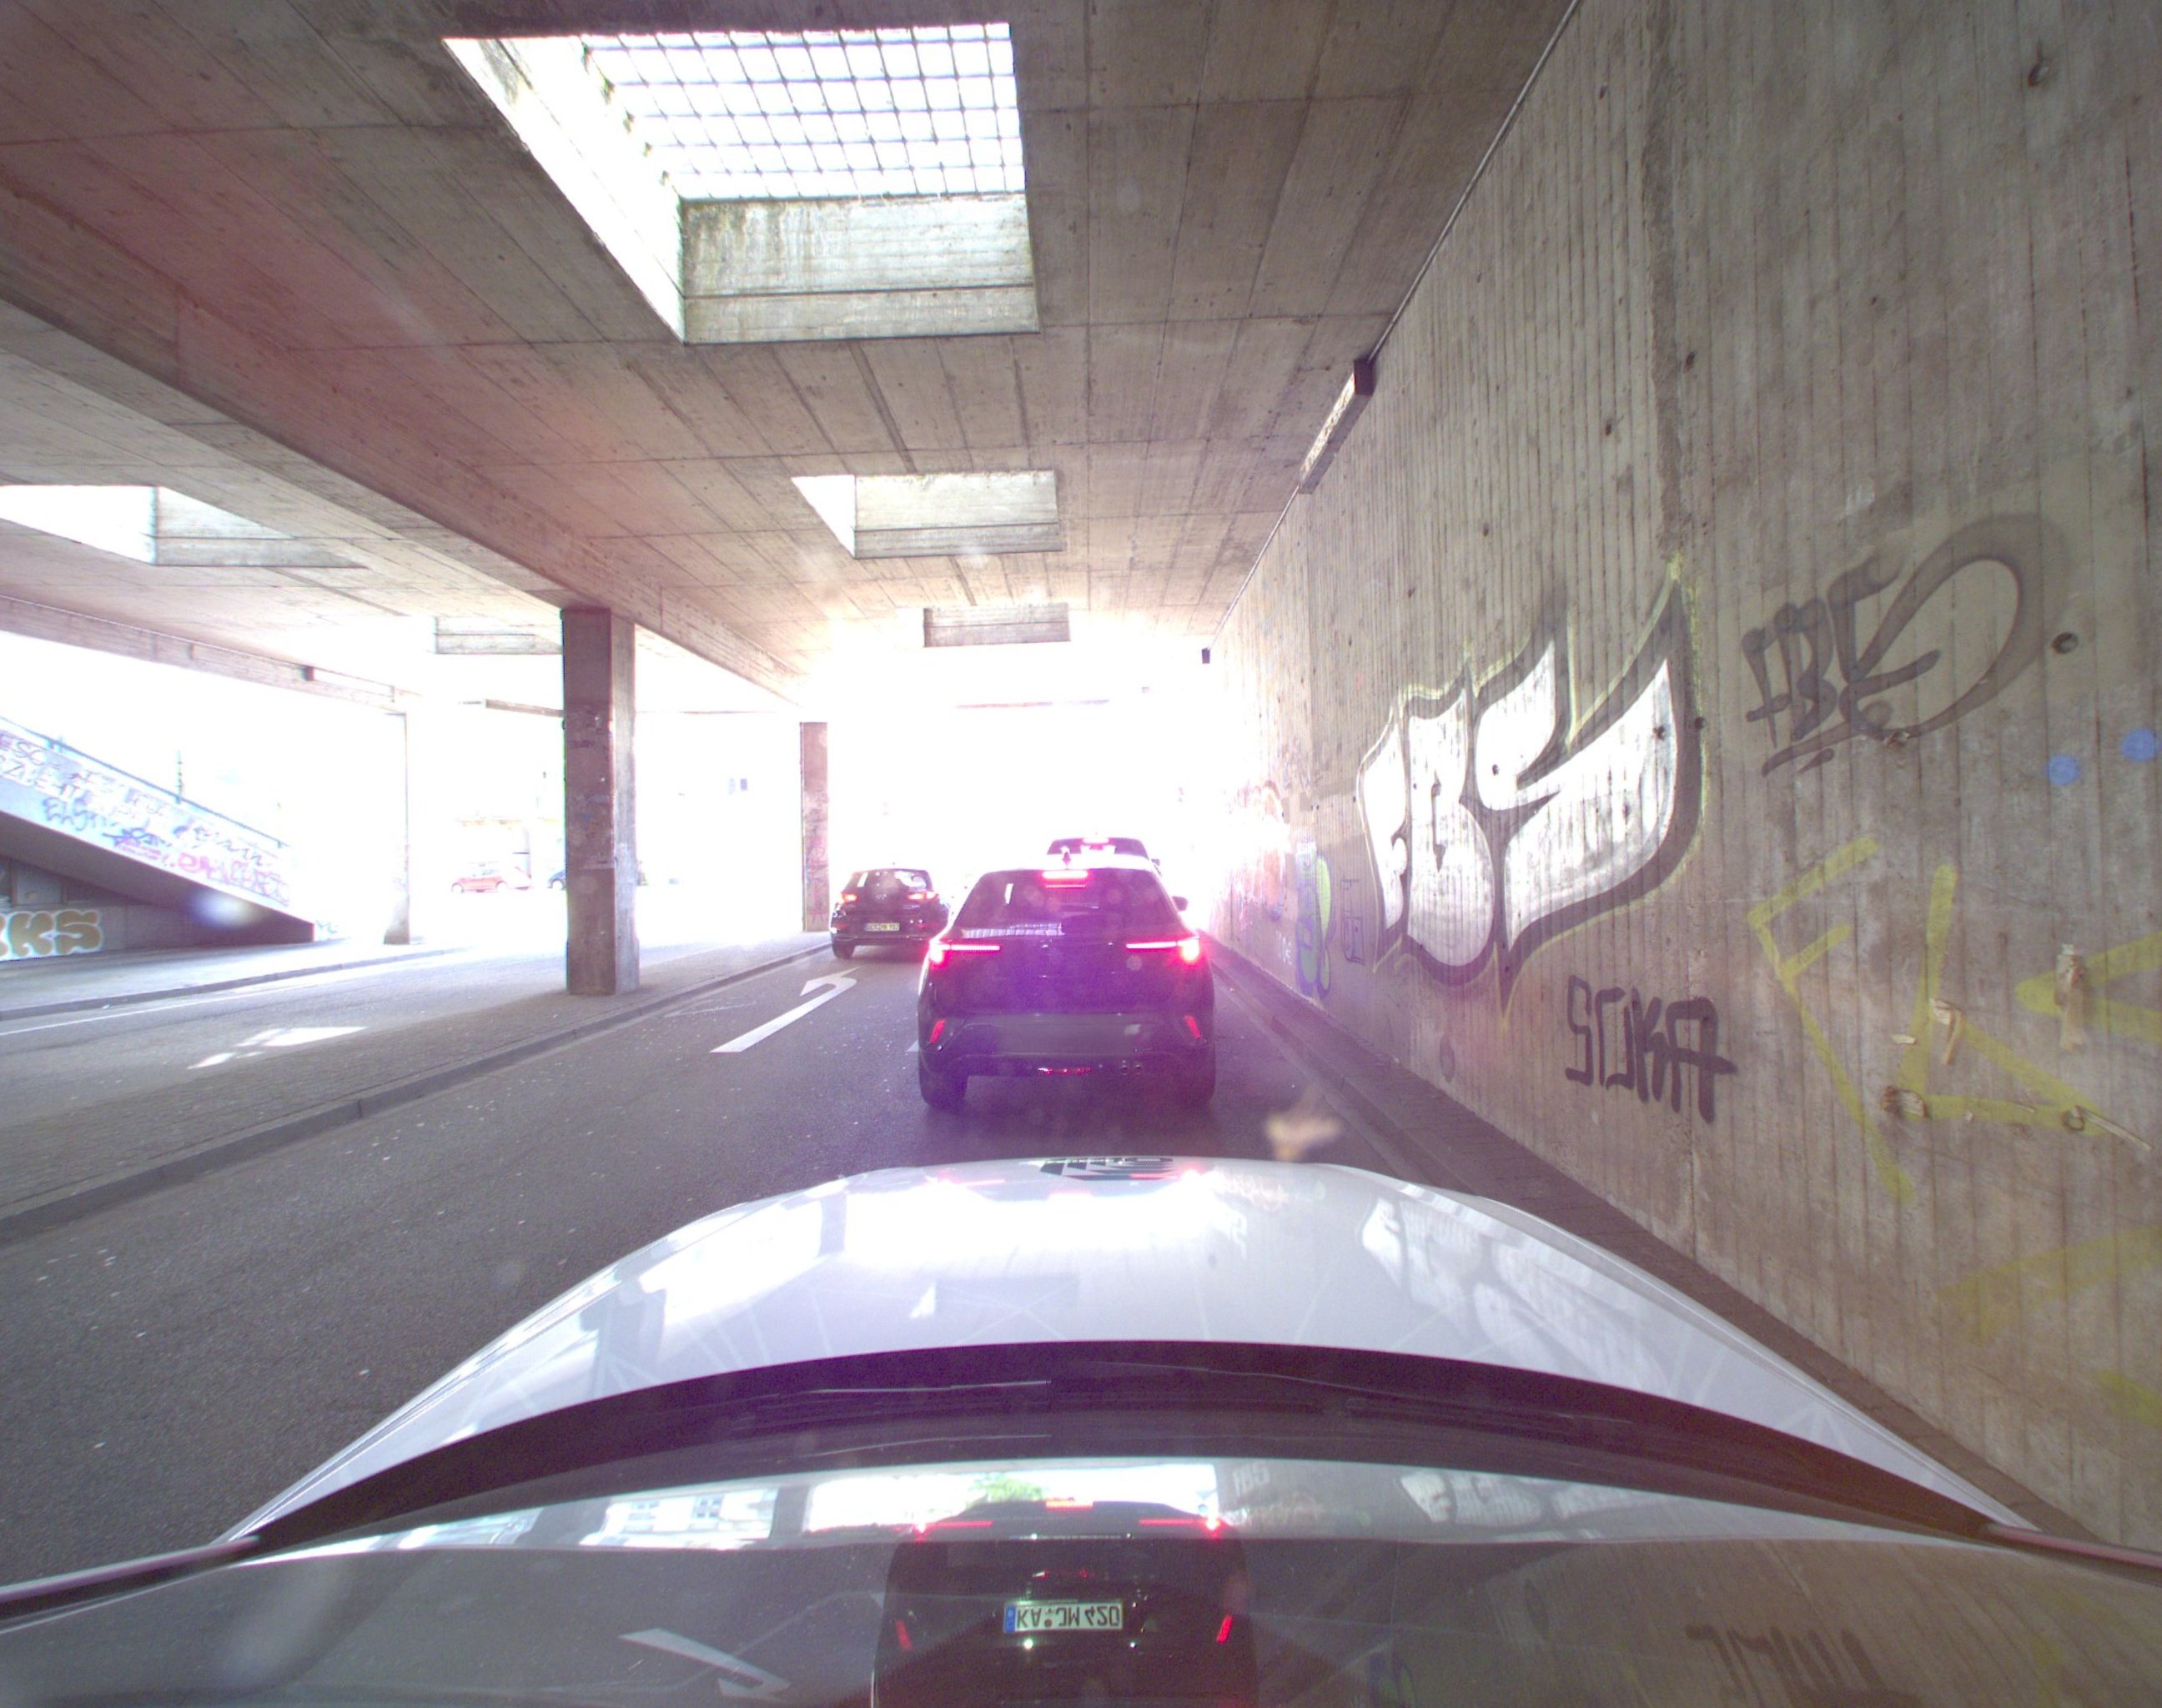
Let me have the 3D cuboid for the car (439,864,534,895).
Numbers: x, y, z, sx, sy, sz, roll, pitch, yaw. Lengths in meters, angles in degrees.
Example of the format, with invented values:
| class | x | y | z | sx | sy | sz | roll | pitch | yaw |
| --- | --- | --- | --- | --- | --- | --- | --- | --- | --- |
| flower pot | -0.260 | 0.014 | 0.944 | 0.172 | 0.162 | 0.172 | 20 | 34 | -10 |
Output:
| class | x | y | z | sx | sy | sz | roll | pitch | yaw |
| --- | --- | --- | --- | --- | --- | --- | --- | --- | --- |
| car | -32.996 | 1.392 | 45.267 | 3.863 | 1.540 | 1.900 | -1 | 1 | 2 |

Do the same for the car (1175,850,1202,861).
| class | x | y | z | sx | sy | sz | roll | pitch | yaw |
| --- | --- | --- | --- | --- | --- | --- | --- | --- | --- |
| car | 21.116 | 0.286 | 160.647 | 4.888 | 2.083 | 1.977 | -2 | -1 | -12 |

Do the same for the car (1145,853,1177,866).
| class | x | y | z | sx | sy | sz | roll | pitch | yaw |
| --- | --- | --- | --- | --- | --- | --- | --- | --- | --- |
| car | 13.182 | 0.896 | 134.041 | 4.905 | 2.083 | 1.970 | -2 | -1 | -23 |

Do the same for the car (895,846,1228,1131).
| class | x | y | z | sx | sy | sz | roll | pitch | yaw |
| --- | --- | --- | --- | --- | --- | --- | --- | --- | --- |
| car | -0.047 | 0.727 | 6.273 | 1.775 | 1.517 | 3.757 | -1 | 0 | 2 |

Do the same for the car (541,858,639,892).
| class | x | y | z | sx | sy | sz | roll | pitch | yaw |
| --- | --- | --- | --- | --- | --- | --- | --- | --- | --- |
| car | -27.235 | 1.159 | 45.269 | 4.144 | 1.724 | 1.964 | -1 | 1 | 2 |

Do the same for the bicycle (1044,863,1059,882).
| class | x | y | z | sx | sy | sz | roll | pitch | yaw |
| --- | --- | --- | --- | --- | --- | --- | --- | --- | --- |
| bicycle | -1.856 | 1.152 | 51.295 | 0.695 | 1.090 | 1.863 | -1 | 2 | 5 |

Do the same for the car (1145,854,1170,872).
| class | x | y | z | sx | sy | sz | roll | pitch | yaw |
| --- | --- | --- | --- | --- | --- | --- | --- | --- | --- |
| car | 7.070 | 0.812 | 75.069 | 1.693 | 1.512 | 3.877 | -3 | -1 | 13 |

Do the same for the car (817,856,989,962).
| class | x | y | z | sx | sy | sz | roll | pitch | yaw |
| --- | --- | --- | --- | --- | --- | --- | --- | --- | --- |
| car | -2.779 | 0.791 | 13.755 | 1.794 | 1.451 | 4.328 | -2 | 0 | 2 |

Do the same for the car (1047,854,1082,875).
| class | x | y | z | sx | sy | sz | roll | pitch | yaw |
| --- | --- | --- | --- | --- | --- | --- | --- | --- | --- |
| car | -1.179 | 0.721 | 59.772 | 1.645 | 1.441 | 3.478 | -2 | 0 | 16 |

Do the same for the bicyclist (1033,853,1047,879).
| class | x | y | z | sx | sy | sz | roll | pitch | yaw |
| --- | --- | --- | --- | --- | --- | --- | --- | --- | --- |
| bicyclist | -2.688 | 0.794 | 53.953 | 0.779 | 1.660 | 1.032 | -2 | 0 | 3 |

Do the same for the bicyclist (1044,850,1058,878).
| class | x | y | z | sx | sy | sz | roll | pitch | yaw |
| --- | --- | --- | --- | --- | --- | --- | --- | --- | --- |
| bicyclist | -1.882 | 0.630 | 51.240 | 0.742 | 1.711 | 0.968 | -2 | 1 | 4 |

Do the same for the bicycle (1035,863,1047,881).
| class | x | y | z | sx | sy | sz | roll | pitch | yaw |
| --- | --- | --- | --- | --- | --- | --- | --- | --- | --- |
| bicycle | -2.660 | 1.171 | 53.874 | 0.539 | 1.123 | 2.060 | -1 | 0 | 3 |

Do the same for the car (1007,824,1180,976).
| class | x | y | z | sx | sy | sz | roll | pitch | yaw |
| --- | --- | --- | --- | --- | --- | --- | --- | --- | --- |
| car | 0.160 | 0.577 | 12.656 | 2.126 | 1.835 | 4.939 | -2 | 0 | 0 |

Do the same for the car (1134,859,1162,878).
| class | x | y | z | sx | sy | sz | roll | pitch | yaw |
| --- | --- | --- | --- | --- | --- | --- | --- | --- | --- |
| car | 5.630 | 1.218 | 68.417 | 1.695 | 1.452 | 3.865 | -2 | 0 | 14 |

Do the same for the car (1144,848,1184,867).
| class | x | y | z | sx | sy | sz | roll | pitch | yaw |
| --- | --- | --- | --- | --- | --- | --- | --- | --- | --- |
| car | 11.772 | 0.556 | 116.027 | 5.267 | 2.545 | 1.976 | -2 | -1 | -14 |

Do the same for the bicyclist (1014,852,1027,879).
| class | x | y | z | sx | sy | sz | roll | pitch | yaw |
| --- | --- | --- | --- | --- | --- | --- | --- | --- | --- |
| bicyclist | -3.765 | 0.691 | 50.757 | 0.602 | 1.632 | 0.911 | -2 | 0 | 7 |

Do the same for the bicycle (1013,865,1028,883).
| class | x | y | z | sx | sy | sz | roll | pitch | yaw |
| --- | --- | --- | --- | --- | --- | --- | --- | --- | --- |
| bicycle | -3.768 | 1.221 | 50.656 | 0.523 | 1.090 | 1.864 | -1 | 0 | 7 |
